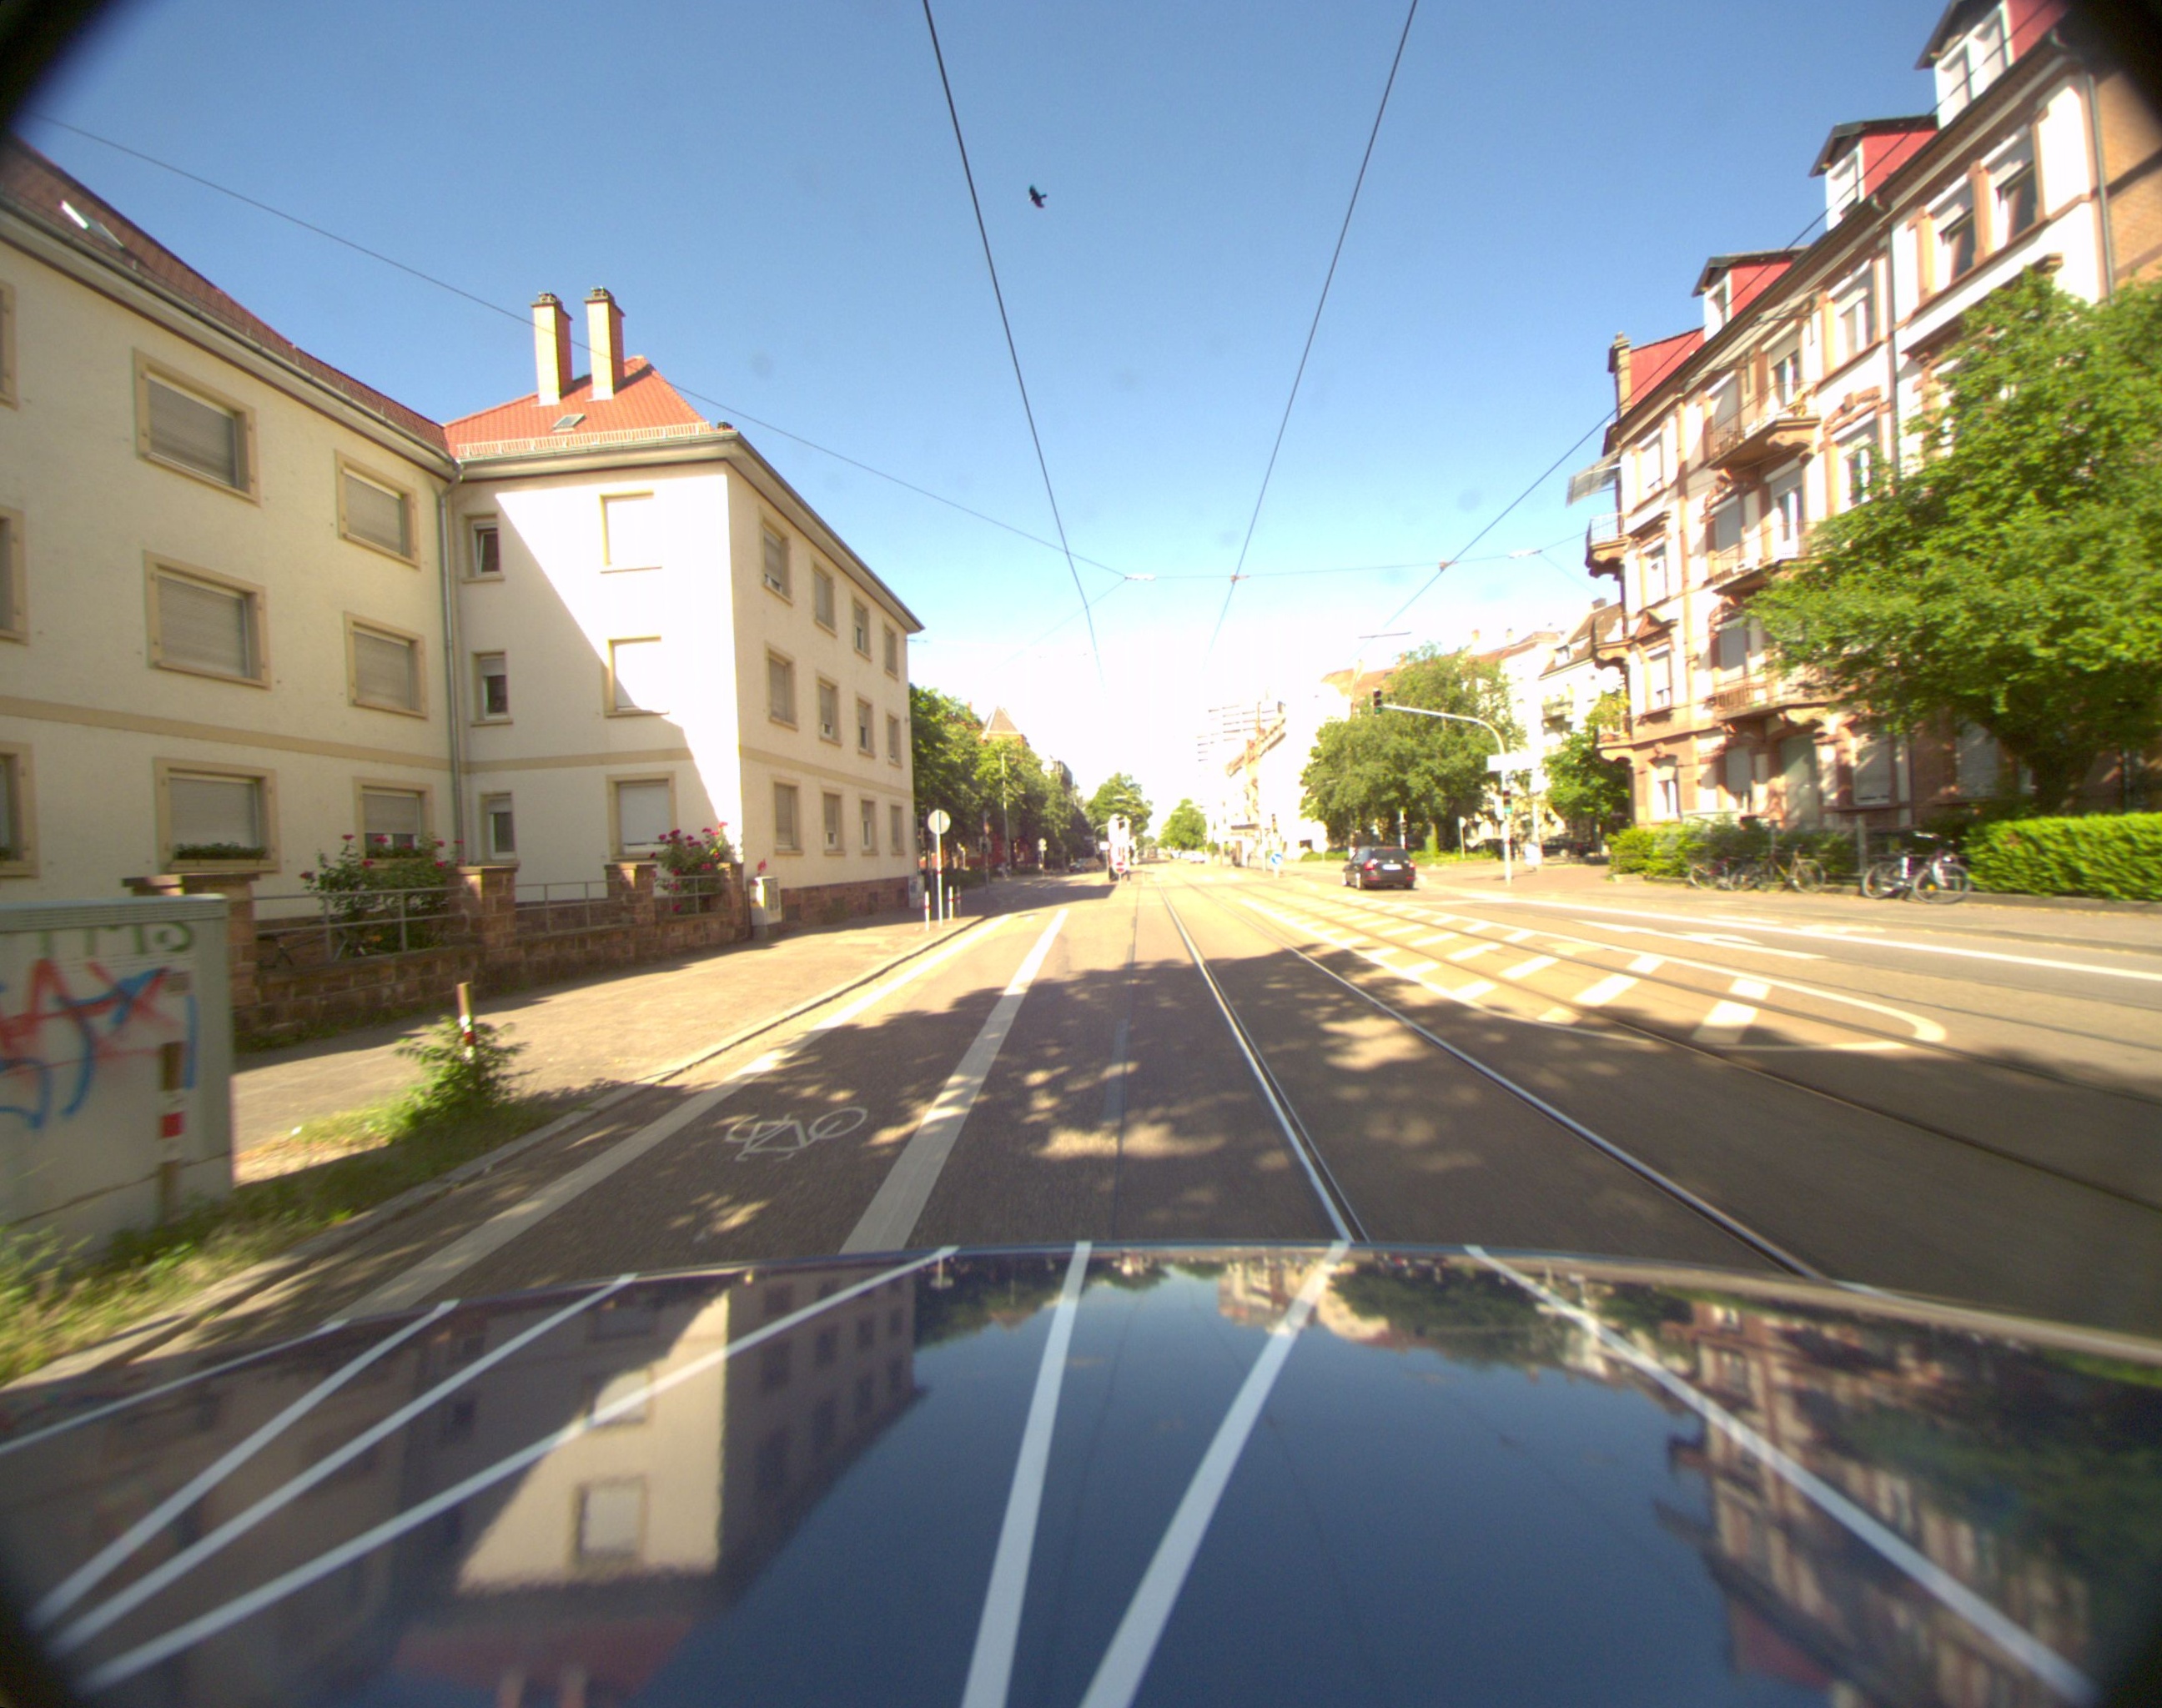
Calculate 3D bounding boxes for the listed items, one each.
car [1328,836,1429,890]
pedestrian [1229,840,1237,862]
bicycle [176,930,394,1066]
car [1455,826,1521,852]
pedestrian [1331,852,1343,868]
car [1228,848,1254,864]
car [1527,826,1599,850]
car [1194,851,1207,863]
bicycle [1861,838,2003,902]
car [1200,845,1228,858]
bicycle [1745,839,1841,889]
[{"bbox_3d":[10.135,0.275,26.345,1.836,1.509,4.968,-5,0,5],"label":"car"},{"bbox_3d":[12.633,-0.243,63.073,0.466,1.774,0.673,-3,1,4],"label":"pedestrian"},{"bbox_3d":[-8.247,1.438,7.987,0.460,1.086,1.672,-4,0,-1],"label":"bicycle"},{"bbox_3d":[31.190,-1.128,58.316,4.023,1.686,1.691,-4,0,12],"label":"car"},{"bbox_3d":[20.719,0.485,61.458,0.658,1.274,0.724,-4,0,5],"label":"pedestrian"},{"bbox_3d":[16.250,0.184,77.347,1.901,1.608,4.265,-1,0,3],"label":"car"},{"bbox_3d":[33.351,-1.060,52.673,1.741,1.533,4.010,-2,1,-20],"label":"car"},{"bbox_3d":[16.783,0.394,106.642,1.693,1.531,3.800,-4,0,8],"label":"car"},{"bbox_3d":[13.662,0.228,12.282,0.342,0.920,1.944,-4,0,9],"label":"bicycle"},{"bbox_3d":[20.699,-0.440,118.136,3.884,1.581,1.817,-4,4,0],"label":"car"},{"bbox_3d":[14.235,0.173,15.260,0.342,0.920,1.944,-4,0,9],"label":"bicycle"}]
